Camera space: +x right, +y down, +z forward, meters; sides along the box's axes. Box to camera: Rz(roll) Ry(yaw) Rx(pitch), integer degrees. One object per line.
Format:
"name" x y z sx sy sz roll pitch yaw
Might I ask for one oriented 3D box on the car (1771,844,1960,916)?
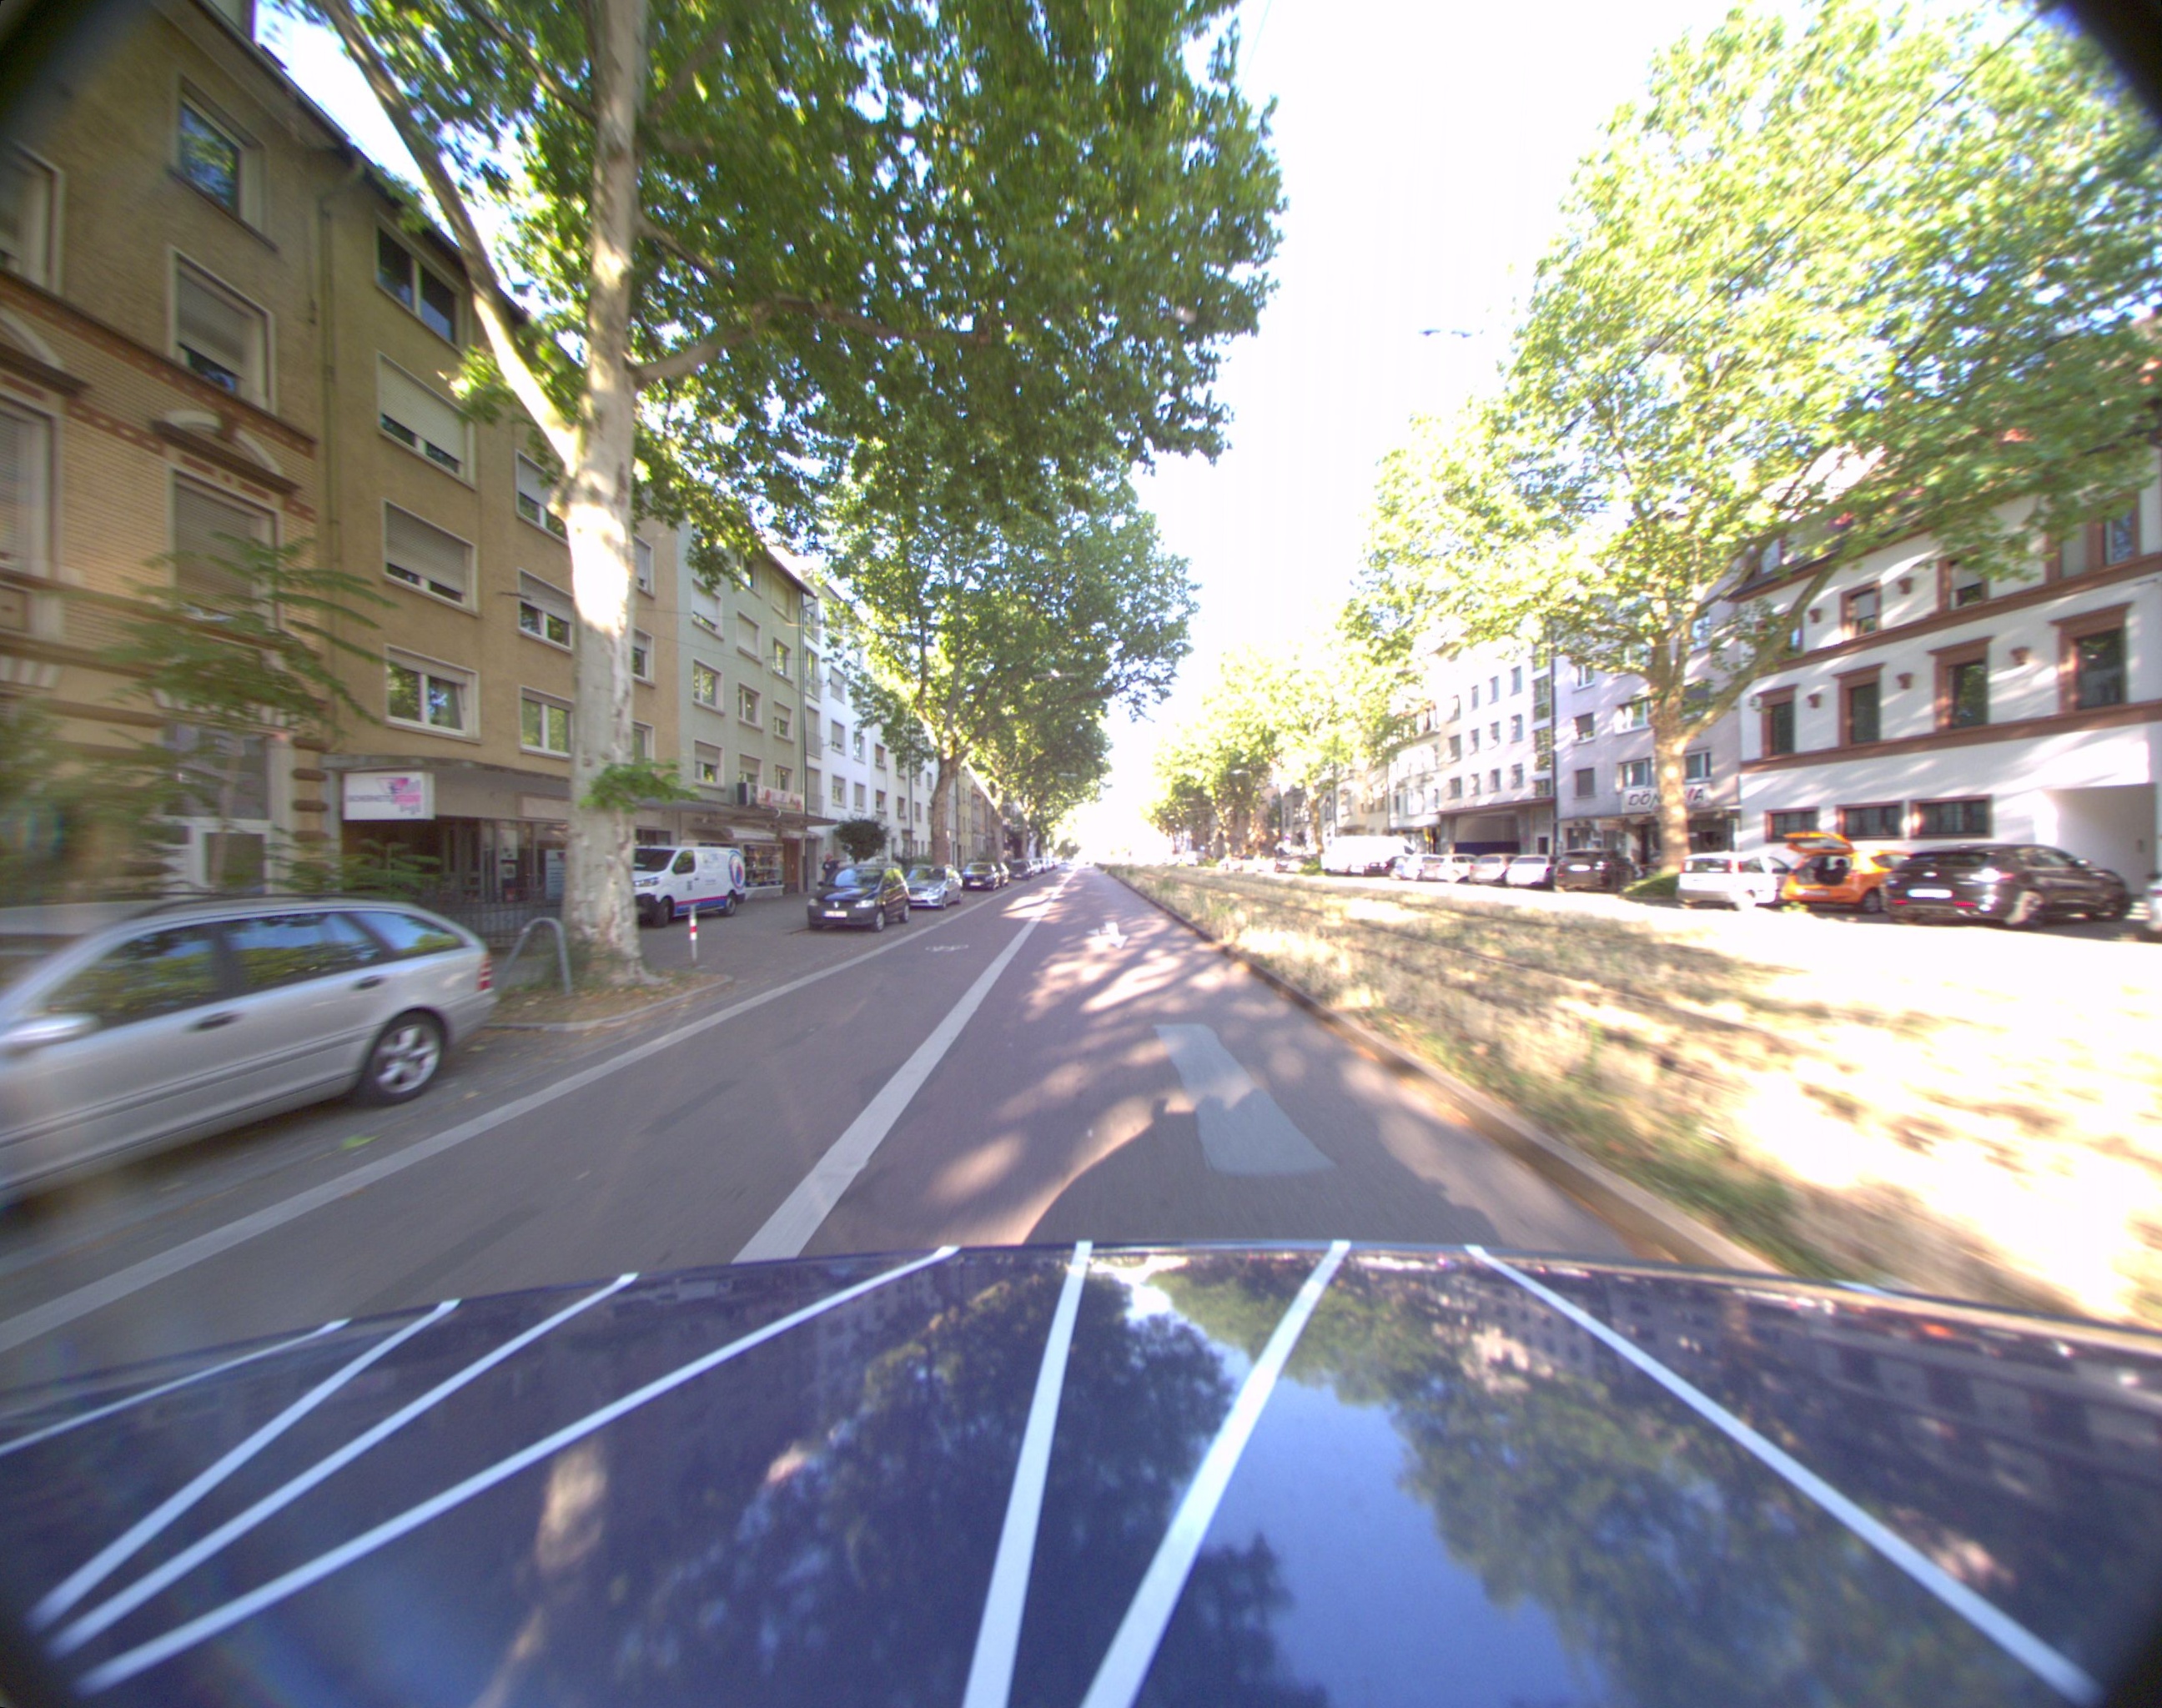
"car" 19.610 0.591 19.007 4.003 1.471 1.774 -3 1 -20

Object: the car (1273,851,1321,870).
"car" 19.169 0.618 67.300 4.169 1.583 1.932 1 -1 -36

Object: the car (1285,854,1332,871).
"car" 19.196 0.711 64.013 4.014 1.349 1.797 0 0 -37

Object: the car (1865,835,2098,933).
"car" 18.379 0.554 15.506 4.370 1.776 1.989 1 1 -25

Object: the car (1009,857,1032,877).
"car" -4.813 0.986 60.445 1.748 1.455 4.024 -1 0 -4

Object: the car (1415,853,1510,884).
"car" 19.454 0.698 38.830 4.001 1.483 1.948 -1 0 -13

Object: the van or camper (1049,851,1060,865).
"van or camper" -4.447 0.640 127.784 1.790 2.172 4.732 0 0 0

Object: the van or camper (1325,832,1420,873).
"van or camper" 19.699 -0.097 51.325 5.973 2.631 2.175 -1 0 -20

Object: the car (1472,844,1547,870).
"car" 29.298 0.215 52.012 3.997 1.533 2.000 -3 1 -1

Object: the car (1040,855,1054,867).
"car" -4.648 0.944 103.687 1.790 1.609 3.829 0 0 0

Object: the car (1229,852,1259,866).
"car" 19.559 0.548 91.158 1.726 1.643 4.009 -2 -1 41

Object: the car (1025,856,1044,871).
"car" -4.908 0.936 80.366 1.702 1.517 4.194 -1 0 0

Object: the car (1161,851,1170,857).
"car" 21.820 0.117 196.601 1.998 1.412 4.000 -3 0 3

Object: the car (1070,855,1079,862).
"car" -1.512 1.120 178.847 1.893 1.501 4.000 -3 1 1

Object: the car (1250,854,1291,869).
"car" 18.802 0.692 75.188 3.686 1.382 1.822 -1 0 -30

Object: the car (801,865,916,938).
"car" -5.315 1.068 18.679 1.658 1.536 4.000 0 0 0

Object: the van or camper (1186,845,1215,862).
"van or camper" 19.360 -0.034 123.476 4.370 2.386 2.196 -5 2 -40

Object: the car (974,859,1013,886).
"car" -5.070 1.045 44.525 1.713 1.407 4.363 1 0 0

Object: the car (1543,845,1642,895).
"car" 18.875 0.569 27.985 4.007 1.651 1.995 -2 0 -40

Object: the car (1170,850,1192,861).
"car" 19.532 0.339 148.565 4.007 2.002 1.995 -4 1 -42

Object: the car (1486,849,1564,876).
"car" 29.113 0.524 49.871 3.997 1.710 1.906 -1 1 -1

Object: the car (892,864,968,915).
"car" -5.131 1.158 26.434 1.699 1.533 4.776 -1 0 0

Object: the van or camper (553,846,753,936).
"van or camper" -10.325 0.791 18.958 1.947 1.911 5.391 0 0 0

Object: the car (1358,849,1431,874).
"car" 20.069 0.480 48.686 4.004 1.482 1.997 -1 0 -21

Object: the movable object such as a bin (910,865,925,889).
"movable object such as a bin" -8.066 1.136 37.466 0.617 1.152 0.666 -1 1 -3

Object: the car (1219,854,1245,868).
"car" 15.664 0.712 78.924 1.825 1.382 4.483 1 0 0

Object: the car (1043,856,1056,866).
"car" -4.687 1.000 113.762 1.790 1.458 3.569 0 0 0

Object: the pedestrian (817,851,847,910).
"pedestrian" -8.600 0.907 26.251 0.684 2.002 1.012 -1 1 -1

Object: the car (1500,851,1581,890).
"car" 19.180 0.666 31.666 4.008 1.377 1.907 -3 0 -44

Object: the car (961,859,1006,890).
"car" -5.026 1.032 39.634 1.713 1.407 4.363 1 0 0

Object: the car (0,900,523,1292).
"car" -5.356 1.111 3.885 1.678 1.443 4.570 -1 0 -1

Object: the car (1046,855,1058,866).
"car" -4.613 1.006 121.053 1.791 1.585 4.013 0 0 -1

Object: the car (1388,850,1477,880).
"car" 19.273 0.572 41.724 3.998 1.412 1.857 -3 1 -3

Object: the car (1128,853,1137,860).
"car" 13.254 0.644 194.273 1.997 1.477 4.002 -3 1 9

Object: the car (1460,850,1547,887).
"car" 19.313 0.641 34.701 4.006 1.414 1.752 -3 1 -33

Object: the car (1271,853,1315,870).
"car" 19.773 0.701 70.675 4.008 1.524 1.821 1 -1 -35

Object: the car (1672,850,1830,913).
"car" 18.165 0.685 20.570 4.369 1.440 1.656 -2 1 -26

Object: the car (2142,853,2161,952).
"car" 18.628 0.721 12.264 4.212 1.325 1.718 -3 1 -35

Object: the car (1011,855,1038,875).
"car" -4.958 0.944 67.222 1.998 1.557 4.663 1 0 0

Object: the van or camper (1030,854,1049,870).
"van or camper" -4.720 0.911 86.663 1.790 1.710 4.379 0 0 1
